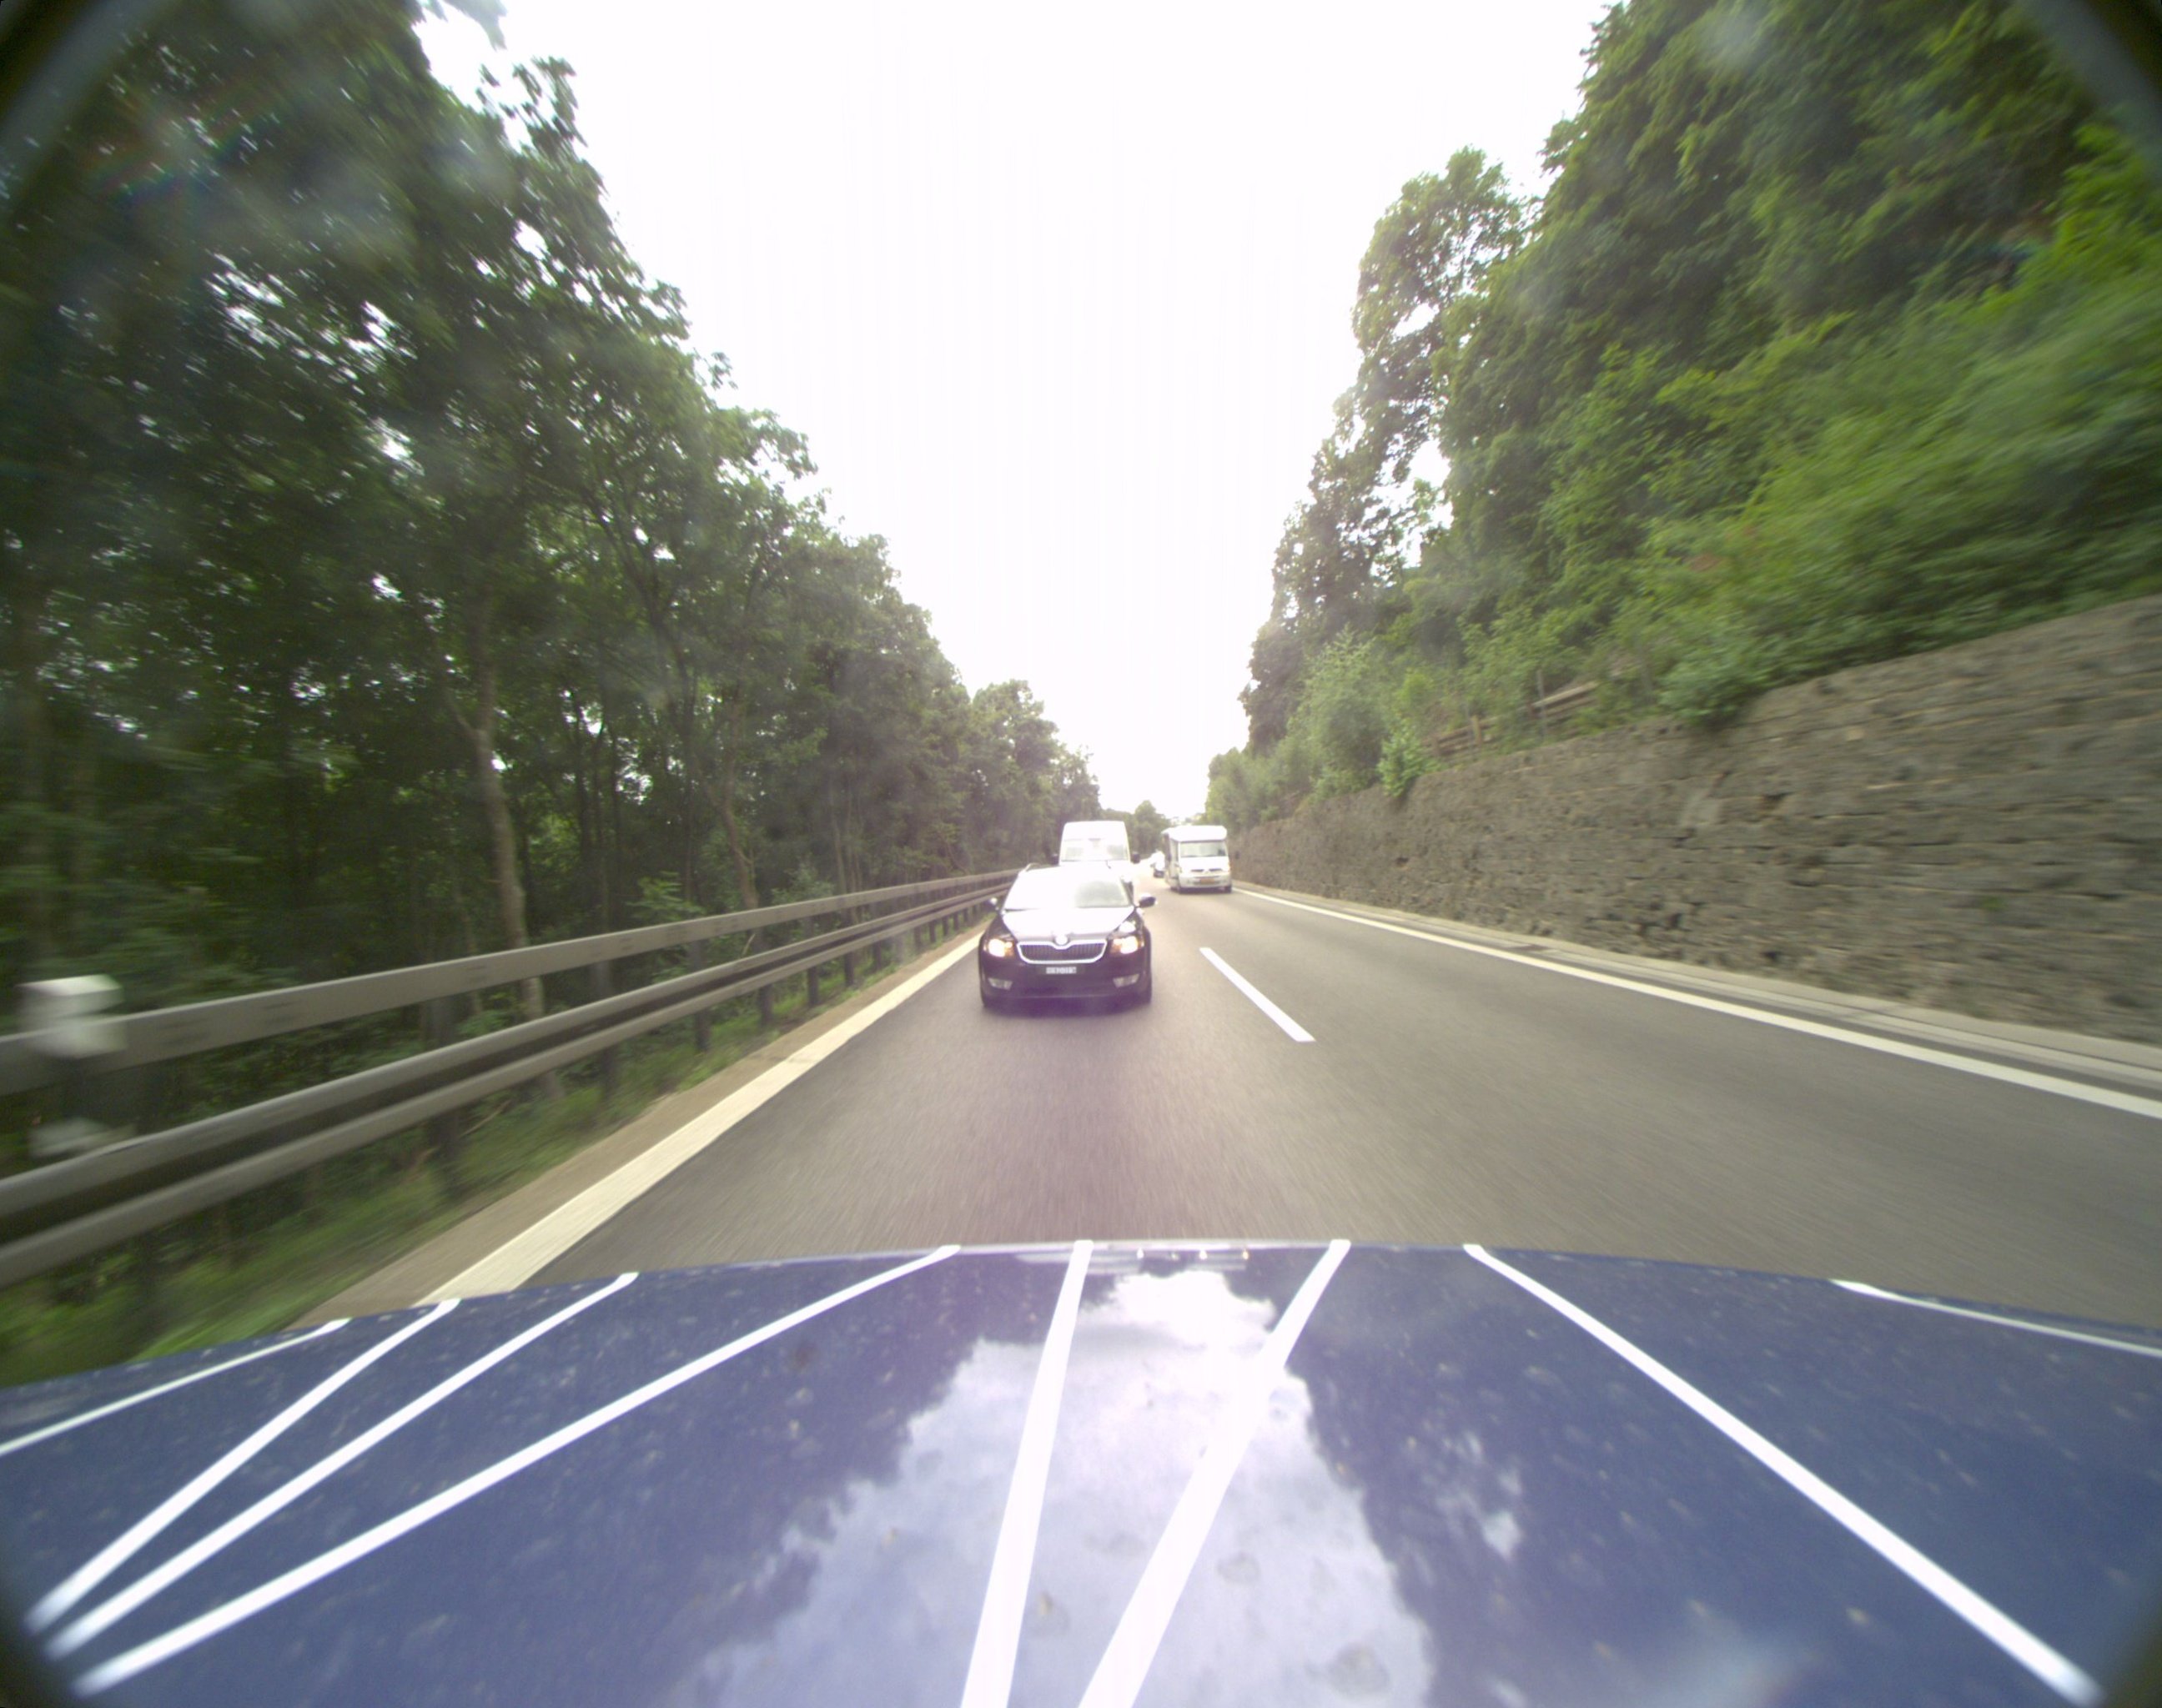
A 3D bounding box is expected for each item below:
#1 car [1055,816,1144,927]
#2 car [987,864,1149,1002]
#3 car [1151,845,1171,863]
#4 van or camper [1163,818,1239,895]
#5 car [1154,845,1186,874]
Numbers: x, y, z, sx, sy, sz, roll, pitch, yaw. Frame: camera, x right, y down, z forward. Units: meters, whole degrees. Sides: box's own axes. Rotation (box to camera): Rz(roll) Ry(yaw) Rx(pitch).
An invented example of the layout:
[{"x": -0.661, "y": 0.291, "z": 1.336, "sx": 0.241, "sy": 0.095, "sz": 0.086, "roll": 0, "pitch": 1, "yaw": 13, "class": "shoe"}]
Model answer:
[{"x": 0.525, "y": 0.388, "z": 20.522, "sx": 2.000, "sy": 2.545, "sz": 5.128, "roll": -2, "pitch": 1, "yaw": 2, "class": "car"}, {"x": -0.089, "y": 0.911, "z": 10.653, "sx": 1.751, "sy": 1.409, "sz": 4.401, "roll": -2, "pitch": 0, "yaw": 1, "class": "car"}, {"x": 9.414, "y": -0.023, "z": 89.632, "sx": 1.998, "sy": 2.002, "sz": 4.001, "roll": -2, "pitch": 0, "yaw": 3, "class": "car"}, {"x": 4.773, "y": 0.084, "z": 31.336, "sx": 2.270, "sy": 2.719, "sz": 7.025, "roll": -2, "pitch": 0, "yaw": 3, "class": "van or camper"}, {"x": 5.946, "y": 0.350, "z": 51.002, "sx": 1.808, "sy": 1.772, "sz": 4.001, "roll": -2, "pitch": 0, "yaw": 3, "class": "car"}]
